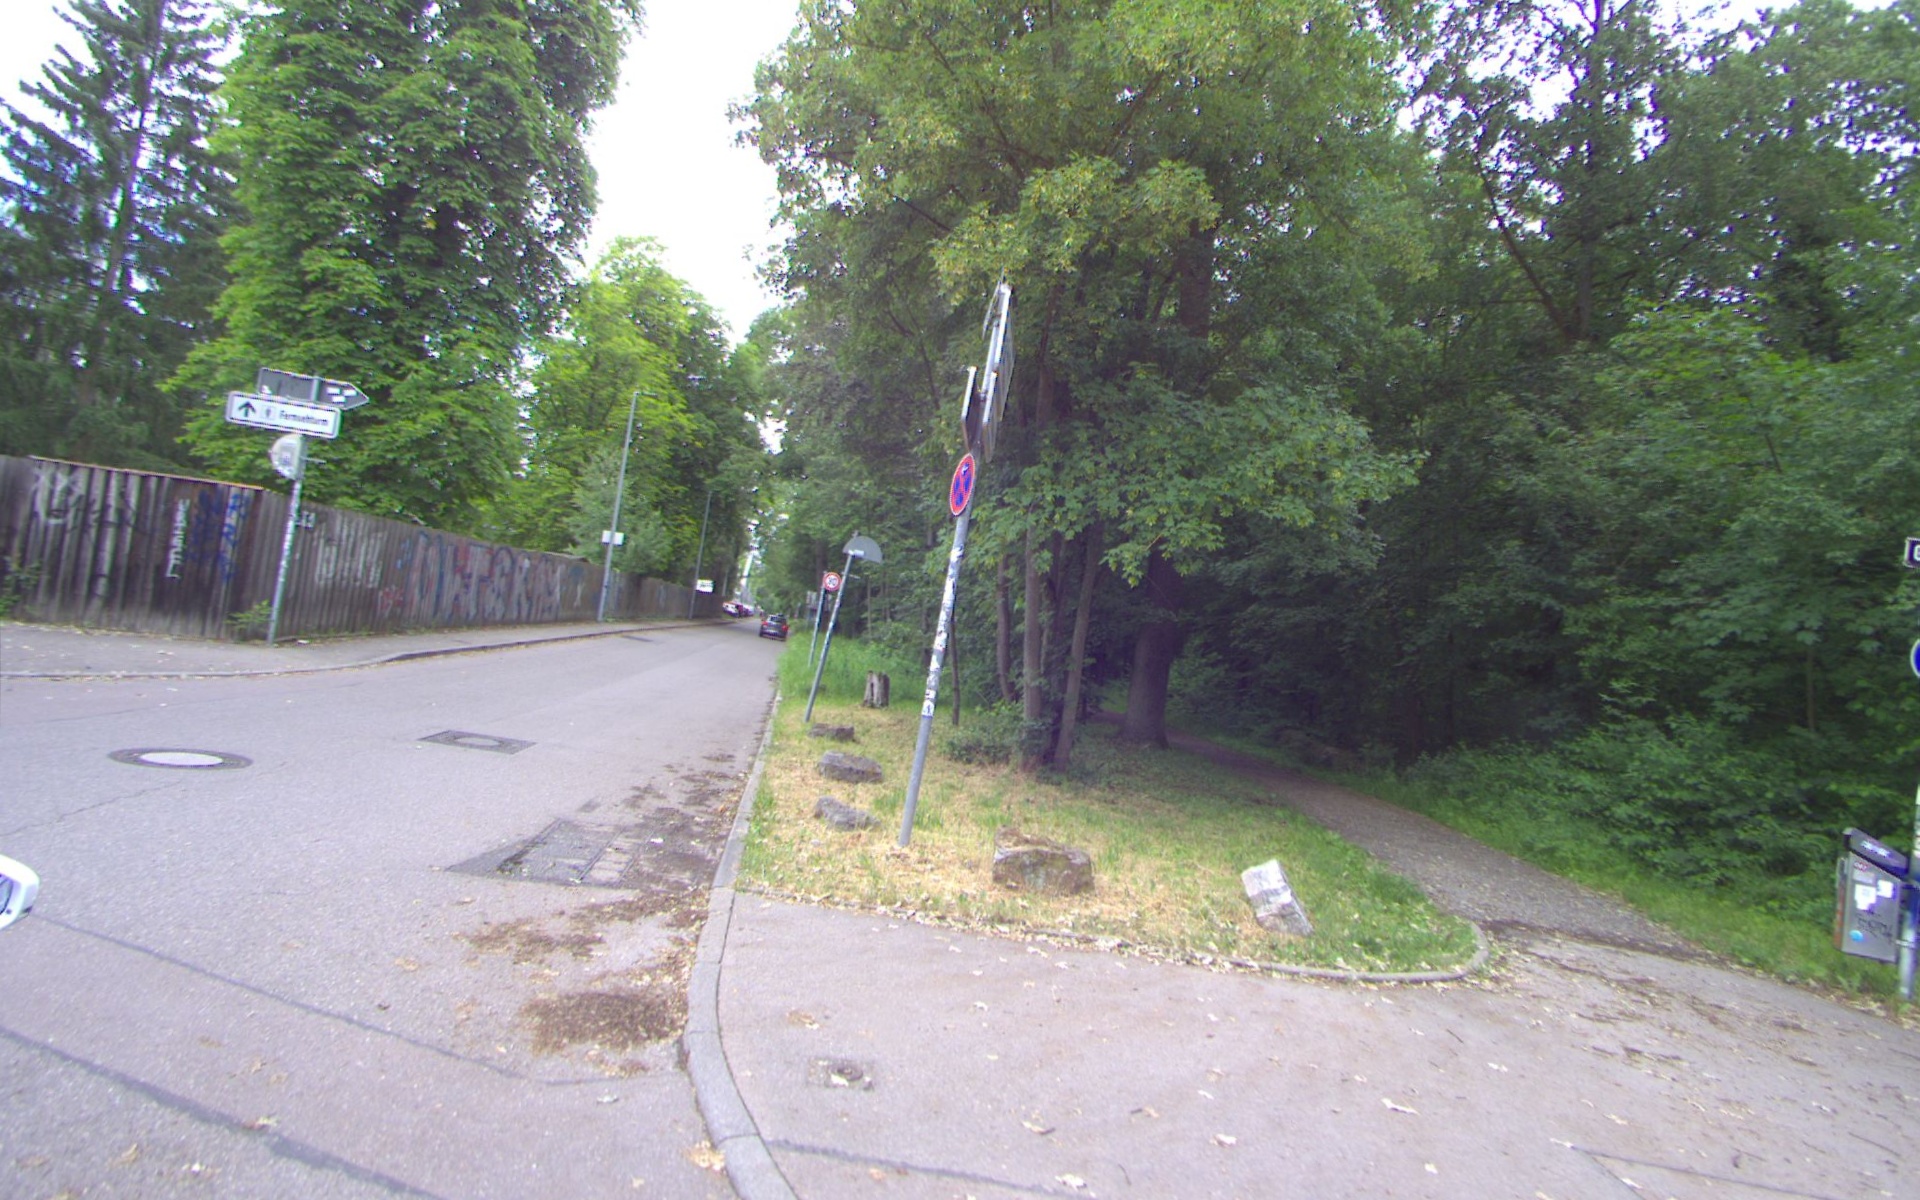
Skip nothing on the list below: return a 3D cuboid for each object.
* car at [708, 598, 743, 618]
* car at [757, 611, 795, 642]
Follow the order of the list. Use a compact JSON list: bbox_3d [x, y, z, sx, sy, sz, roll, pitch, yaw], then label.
[{"bbox_3d":[-28.999,1.015,124.524,3.938,1.769,1.996,10,-2,-12],"label":"car"},{"bbox_3d":[-11.380,1.669,62.338,1.883,1.523,3.999,12,-3,-7],"label":"car"}]
